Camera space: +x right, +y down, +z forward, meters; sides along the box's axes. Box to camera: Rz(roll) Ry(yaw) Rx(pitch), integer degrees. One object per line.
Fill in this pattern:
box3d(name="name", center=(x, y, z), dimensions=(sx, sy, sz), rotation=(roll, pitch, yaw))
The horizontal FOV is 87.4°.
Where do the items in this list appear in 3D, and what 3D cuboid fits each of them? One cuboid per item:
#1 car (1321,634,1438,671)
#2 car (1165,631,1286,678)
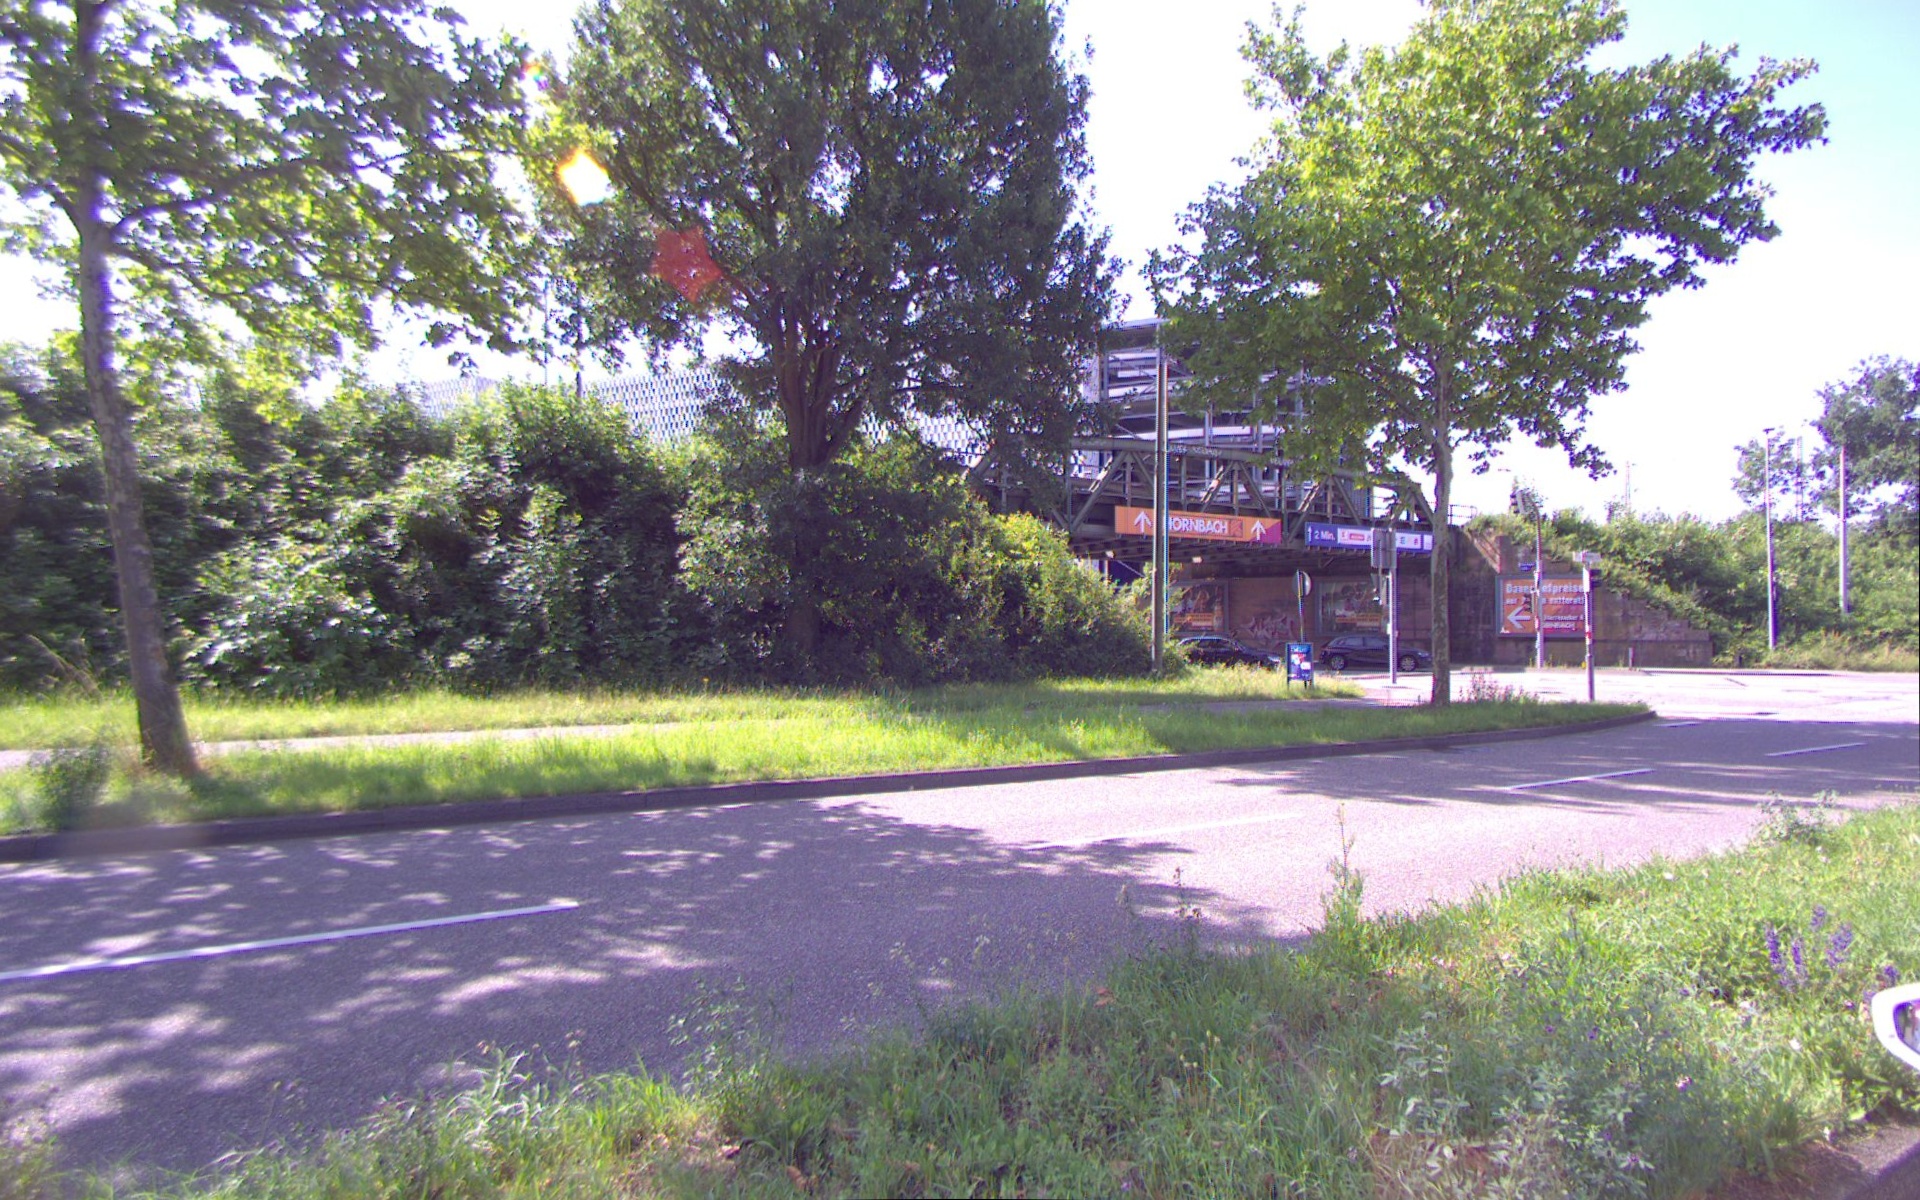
box3d(name="car", center=(16.832, 2.077, 40.365), dimensions=(4.253, 1.413, 1.770), rotation=(-1, -2, 24))
box3d(name="car", center=(9.350, 1.897, 35.415), dimensions=(3.869, 1.500, 1.822), rotation=(1, -1, 25))
